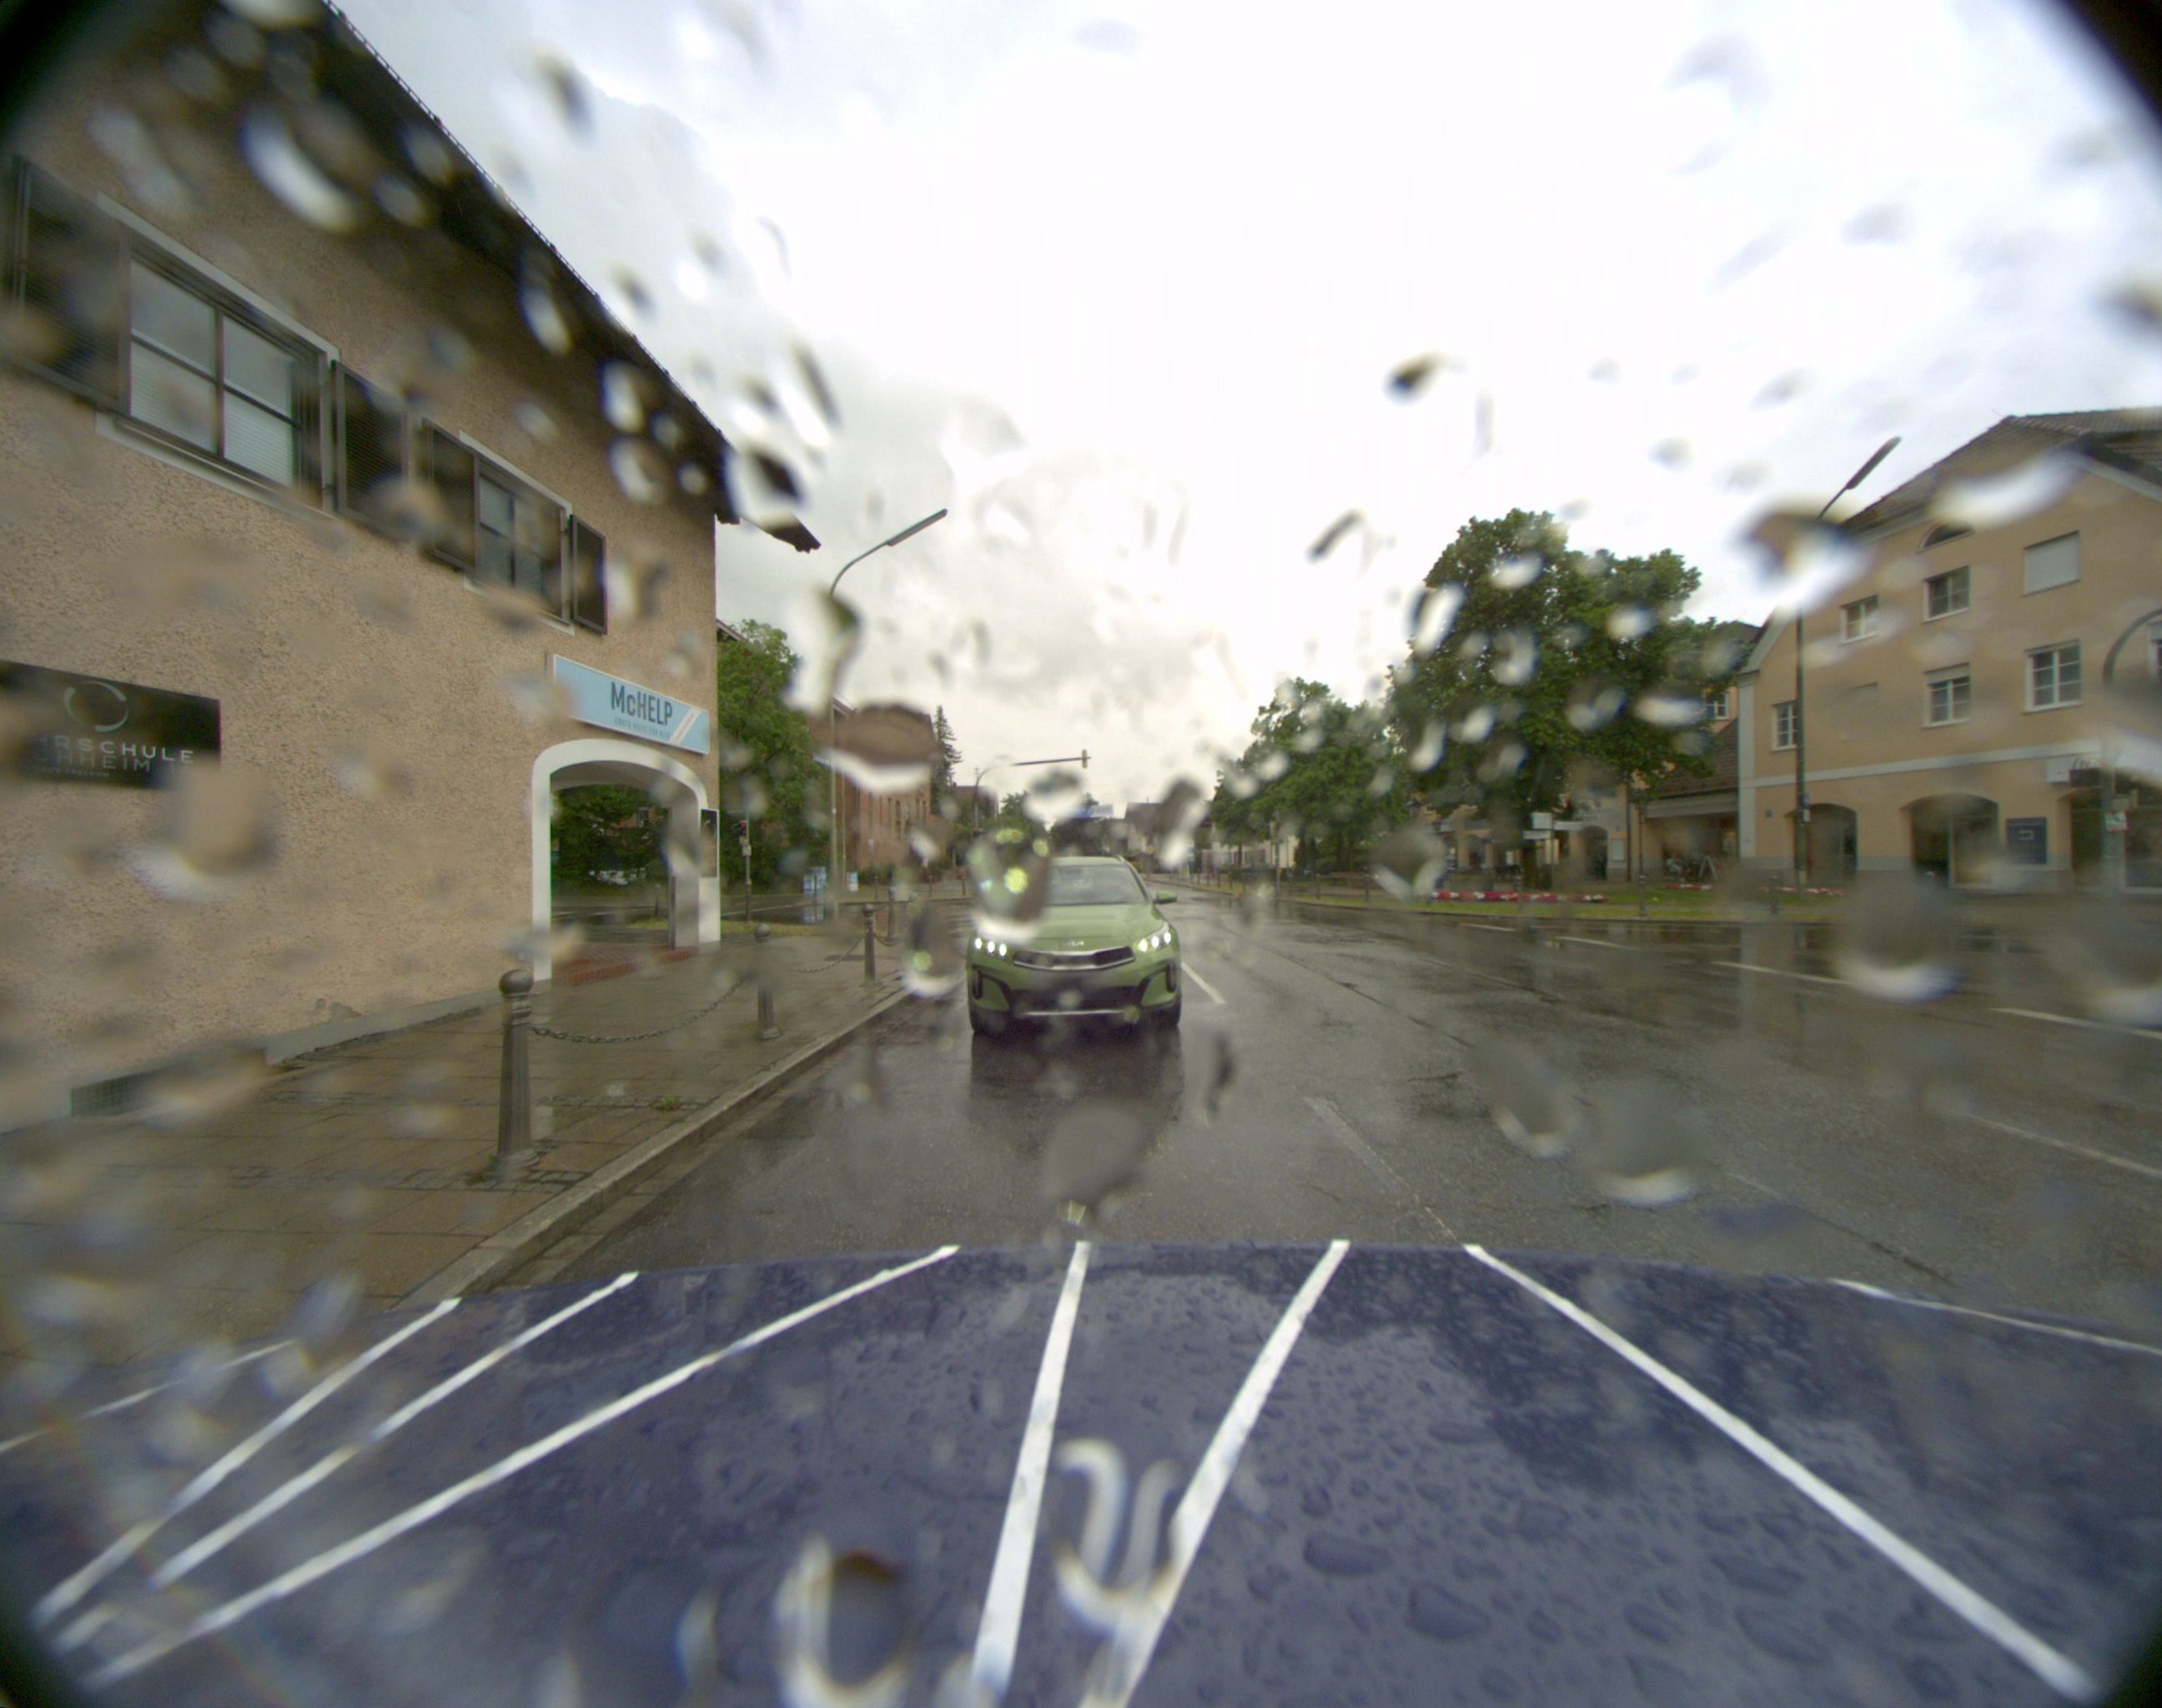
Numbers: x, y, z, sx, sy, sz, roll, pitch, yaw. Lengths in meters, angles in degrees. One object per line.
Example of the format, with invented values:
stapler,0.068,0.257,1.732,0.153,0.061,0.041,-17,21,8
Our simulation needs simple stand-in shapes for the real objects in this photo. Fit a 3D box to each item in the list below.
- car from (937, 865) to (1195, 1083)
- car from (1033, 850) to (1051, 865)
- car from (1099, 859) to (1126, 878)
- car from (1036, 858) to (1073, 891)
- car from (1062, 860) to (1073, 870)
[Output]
car,-0.080,0.909,7.624,1.872,1.505,4.104,-1,0,1
car,-5.132,0.441,99.902,2.218,1.977,4.952,0,0,-5
car,2.599,1.200,63.043,1.873,1.447,4.103,-1,0,-2
car,-1.332,0.948,37.506,1.736,1.489,4.609,0,0,-3
car,-2.545,2.045,139.446,1.810,1.677,3.998,-1,0,-4
